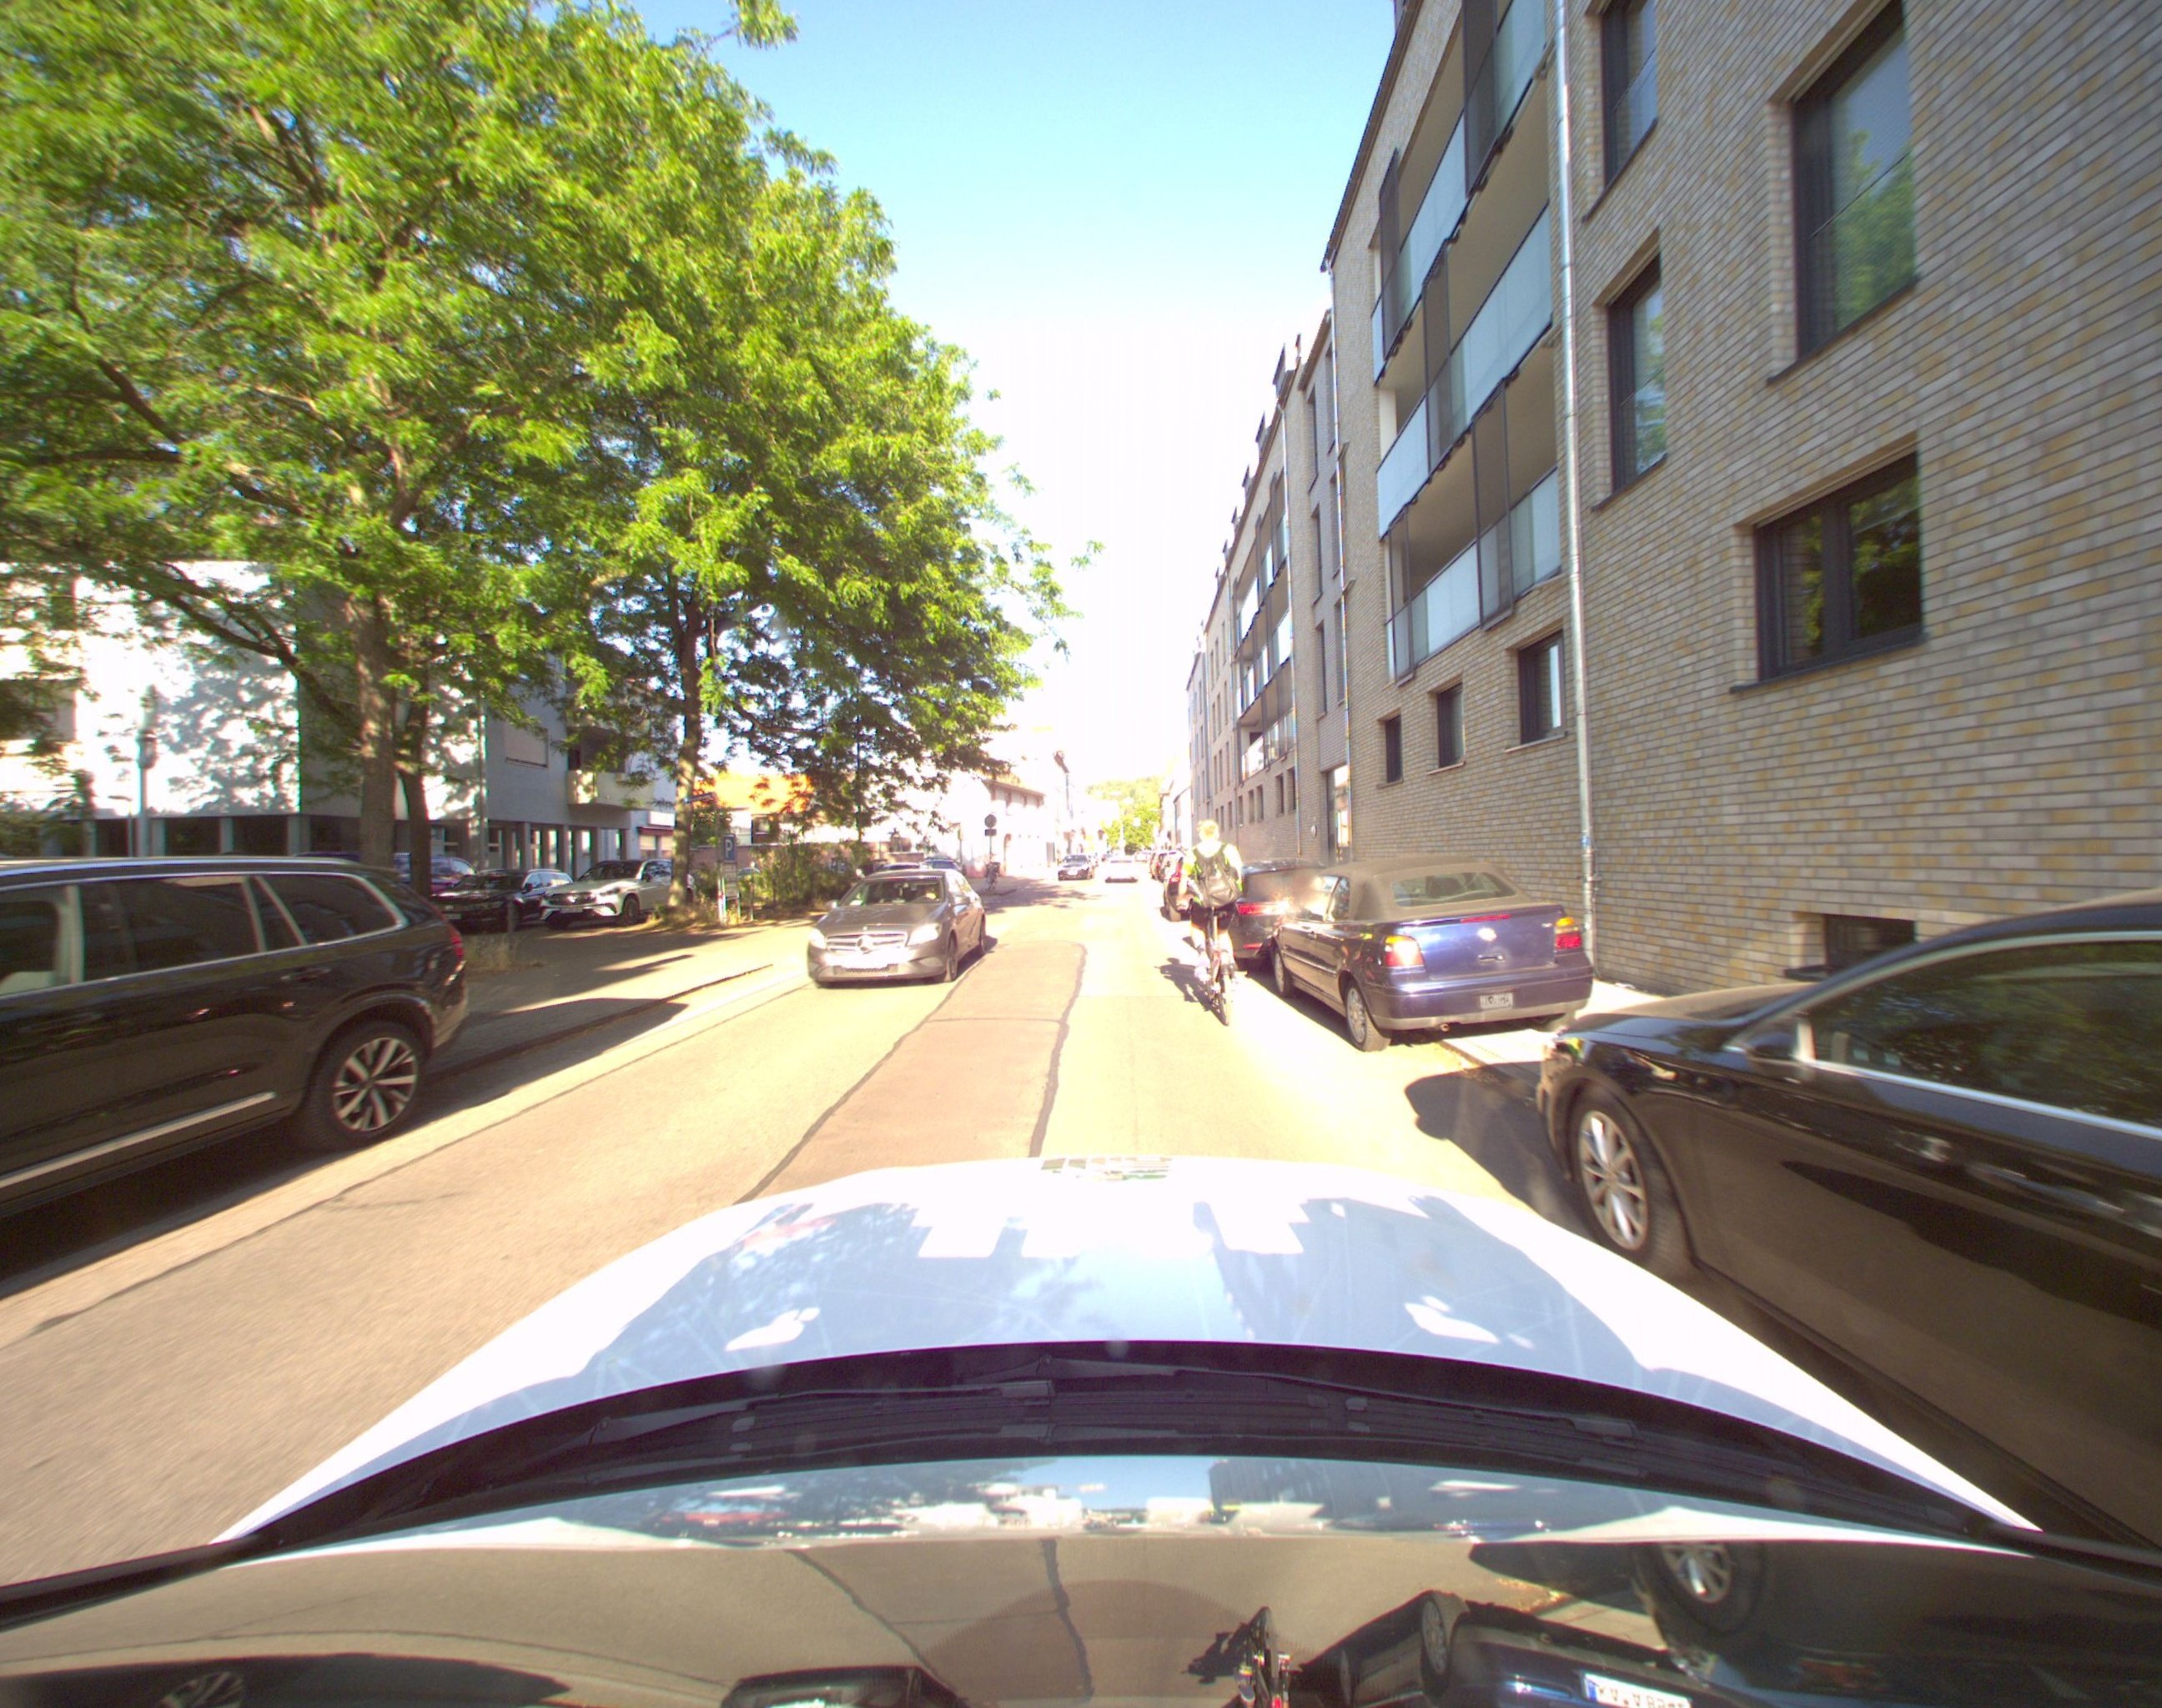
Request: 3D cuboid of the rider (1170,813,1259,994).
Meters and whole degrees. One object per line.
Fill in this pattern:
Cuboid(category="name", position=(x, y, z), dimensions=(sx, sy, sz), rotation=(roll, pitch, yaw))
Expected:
Cuboid(category="rider", position=(1.226, 0.446, 7.650), dimensions=(0.651, 1.562, 1.083), rotation=(1, -2, 1))

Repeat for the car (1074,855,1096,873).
Cuboid(category="car", position=(0.393, 0.902, 77.851), dimensions=(1.987, 1.648, 5.222), rotation=(-1, 0, 1))

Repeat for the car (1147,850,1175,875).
Cuboid(category="car", position=(5.907, 0.571, 60.251), dimensions=(1.846, 1.636, 4.628), rotation=(-4, 0, 4))

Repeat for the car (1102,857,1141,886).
Cuboid(category="car", position=(2.190, 0.939, 44.507), dimensions=(1.986, 1.466, 4.001), rotation=(-2, -1, 1))

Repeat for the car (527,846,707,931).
Cuboid(category="car", position=(-11.627, 0.775, 20.901), dimensions=(1.838, 1.895, 4.904), rotation=(-1, 0, -1))

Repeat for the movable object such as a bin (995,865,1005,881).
Cuboid(category="movable object such as a bin", position=(-5.659, 1.304, 56.770), dimensions=(0.596, 1.094, 0.752), rotation=(-1, -1, 4))

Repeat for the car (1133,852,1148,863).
Cuboid(category="car", position=(8.154, 0.506, 112.728), dimensions=(1.985, 1.466, 4.003), rotation=(-2, -1, 3))

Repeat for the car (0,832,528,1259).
Cuboid(category="car", position=(-5.252, 0.751, 3.650), dimensions=(1.924, 1.705, 5.102), rotation=(1, 0, 1))

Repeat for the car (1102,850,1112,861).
Cuboid(category="car", position=(4.956, 0.291, 154.583), dimensions=(1.986, 2.013, 4.002), rotation=(-1, 0, 2))

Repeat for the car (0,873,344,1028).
Cuboid(category="car", position=(-10.885, 0.971, 9.267), dimensions=(1.514, 1.408, 3.642), rotation=(-2, -1, 3))

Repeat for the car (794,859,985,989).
Cuboid(category="car", position=(-2.490, 0.838, 11.604), dimensions=(1.802, 1.466, 3.998), rotation=(-2, -1, -1))

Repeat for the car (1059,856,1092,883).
Cuboid(category="car", position=(-0.297, 0.924, 50.093), dimensions=(1.932, 1.576, 4.319), rotation=(-2, -1, 1))

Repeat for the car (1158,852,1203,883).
Cuboid(category="car", position=(5.103, 0.661, 42.232), dimensions=(1.985, 1.505, 4.369), rotation=(-2, 0, 3))

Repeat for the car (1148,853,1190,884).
Cuboid(category="car", position=(5.077, 0.796, 47.351), dimensions=(1.986, 1.653, 4.763), rotation=(-2, 0, 1))

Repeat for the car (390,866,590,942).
Cuboid(category="car", position=(-14.157, 1.127, 19.832), dimensions=(2.068, 1.575, 3.807), rotation=(-1, 0, -1))

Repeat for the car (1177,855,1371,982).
Cuboid(category="car", position=(2.646, 0.808, 12.345), dimensions=(1.691, 1.467, 4.718), rotation=(-3, 0, -1))

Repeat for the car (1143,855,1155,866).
Cuboid(category="car", position=(12.300, 1.222, 148.276), dimensions=(2.003, 1.853, 4.003), rotation=(0, 0, 3))

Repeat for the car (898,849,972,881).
Cuboid(category="car", position=(-9.532, 0.703, 53.349), dimensions=(4.343, 1.794, 1.991), rotation=(2, 2, 4))

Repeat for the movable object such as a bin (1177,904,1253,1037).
Cuboid(category="movable object such as a bin", position=(1.229, 1.035, 7.749), dimensions=(0.453, 1.033, 1.840), rotation=(1, -2, 2))

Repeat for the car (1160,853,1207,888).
Cuboid(category="car", position=(4.645, 0.718, 37.322), dimensions=(1.706, 1.404, 4.076), rotation=(-5, 0, 3))

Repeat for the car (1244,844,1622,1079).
Cuboid(category="car", position=(2.844, 0.752, 7.702), dimensions=(1.658, 1.516, 4.218), rotation=(-3, 0, 0))

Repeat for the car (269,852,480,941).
Cuboid(category="car", position=(-17.581, 0.974, 20.611), dimensions=(2.017, 1.948, 4.310), rotation=(-1, 0, -9))

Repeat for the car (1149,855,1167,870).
Cuboid(category="car", position=(7.865, 0.858, 83.591), dimensions=(1.733, 1.492, 4.444), rotation=(-3, 0, 5))

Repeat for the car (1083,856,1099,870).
Cuboid(category="car", position=(1.201, 1.086, 94.421), dimensions=(1.724, 1.499, 3.961), rotation=(-2, -1, 3))

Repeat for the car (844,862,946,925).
Cuboid(category="car", position=(-4.900, 0.994, 21.980), dimensions=(1.690, 1.492, 4.001), rotation=(-2, -1, 1))

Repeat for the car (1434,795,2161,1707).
Cuboid(category="car", position=(2.663, 0.641, 1.843), dimensions=(1.719, 1.529, 4.627), rotation=(-5, -1, 1))

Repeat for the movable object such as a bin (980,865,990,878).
Cuboid(category="movable object such as a bin", position=(-6.578, 1.199, 55.708), dimensions=(0.596, 0.872, 0.606), rotation=(-1, 0, 1))

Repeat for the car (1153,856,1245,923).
Cuboid(category="car", position=(2.877, 0.832, 20.716), dimensions=(1.810, 1.466, 4.271), rotation=(-2, 0, 1))

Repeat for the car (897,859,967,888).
Cuboid(category="car", position=(-9.043, 1.166, 49.615), dimensions=(3.751, 1.530, 2.002), rotation=(-2, 0, 4))

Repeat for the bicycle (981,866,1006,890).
Cuboid(category="bicycle", position=(-3.945, 1.076, 36.805), dimensions=(0.700, 1.003, 1.945), rotation=(-1, 0, 7))

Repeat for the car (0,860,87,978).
Cuboid(category="car", position=(-13.894, 0.799, 8.593), dimensions=(1.573, 1.441, 4.425), rotation=(-2, 0, -5))
